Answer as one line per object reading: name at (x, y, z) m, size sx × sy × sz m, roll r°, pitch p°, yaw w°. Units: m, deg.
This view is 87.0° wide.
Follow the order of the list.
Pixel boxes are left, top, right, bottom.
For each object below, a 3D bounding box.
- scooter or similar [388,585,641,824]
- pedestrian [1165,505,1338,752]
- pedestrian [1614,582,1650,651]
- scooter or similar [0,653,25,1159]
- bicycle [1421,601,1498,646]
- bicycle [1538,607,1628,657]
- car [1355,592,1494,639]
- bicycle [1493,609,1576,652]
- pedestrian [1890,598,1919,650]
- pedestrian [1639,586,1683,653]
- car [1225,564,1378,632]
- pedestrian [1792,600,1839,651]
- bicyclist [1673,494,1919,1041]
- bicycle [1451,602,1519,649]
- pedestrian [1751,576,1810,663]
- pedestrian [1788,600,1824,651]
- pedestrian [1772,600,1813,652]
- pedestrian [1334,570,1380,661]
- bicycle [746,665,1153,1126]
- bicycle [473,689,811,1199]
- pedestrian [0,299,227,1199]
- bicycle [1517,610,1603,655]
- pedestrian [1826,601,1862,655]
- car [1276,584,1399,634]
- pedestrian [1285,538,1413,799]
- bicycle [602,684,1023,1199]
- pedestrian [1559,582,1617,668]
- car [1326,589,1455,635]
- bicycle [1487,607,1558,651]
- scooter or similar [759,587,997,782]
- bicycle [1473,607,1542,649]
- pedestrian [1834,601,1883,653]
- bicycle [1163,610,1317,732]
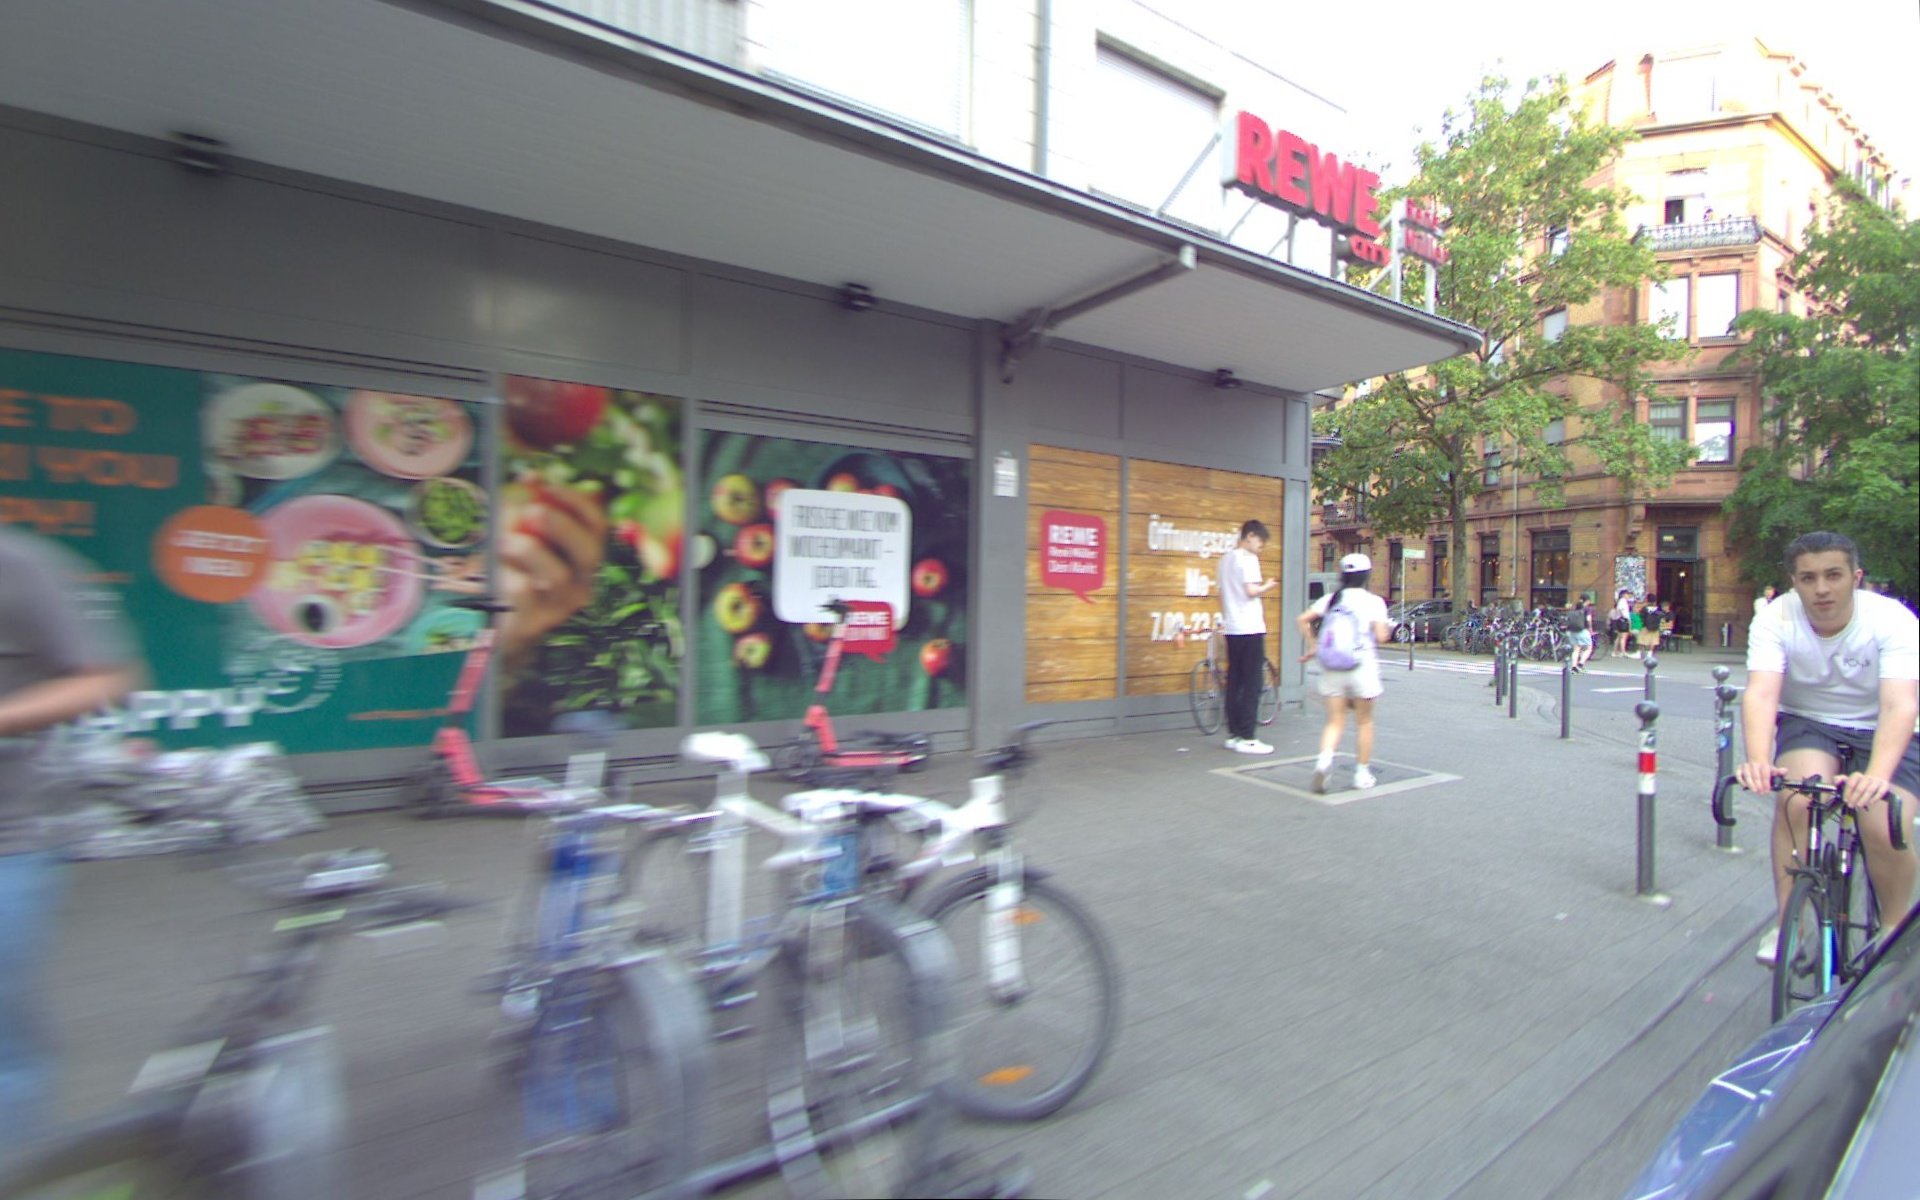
scooter or similar at (-2.377, 0.540, 5.502) m, size 1.140 × 1.219 × 0.538 m, roll 1°, pitch 0°, yaw -9°
pedestrian at (2.465, 0.209, 8.561) m, size 1.167 × 1.935 × 0.763 m, roll 1°, pitch 3°, yaw -36°
pedestrian at (17.455, 0.423, 26.286) m, size 0.630 × 1.767 × 0.673 m, roll -1°, pitch 0°, yaw -45°
scooter or similar at (-2.000, 0.732, 1.737) m, size 0.528 × 1.186 × 1.162 m, roll 3°, pitch 0°, yaw -42°
bicycle at (14.325, 0.656, 29.062) m, size 1.847 × 1.255 × 0.713 m, roll 0°, pitch 0°, yaw -3°
bicycle at (15.302, 0.765, 24.876) m, size 1.845 × 1.169 × 0.714 m, roll -1°, pitch 0°, yaw -9°
car at (15.162, 0.492, 33.086) m, size 3.893 × 1.438 × 1.631 m, roll -1°, pitch 1°, yaw -11°
bicycle at (14.915, 0.778, 26.291) m, size 1.845 × 1.071 × 0.714 m, roll -1°, pitch 0°, yaw -9°
pedestrian at (24.681, 0.619, 26.237) m, size 0.716 × 1.321 × 0.742 m, roll 1°, pitch 0°, yaw 34°
pedestrian at (17.699, 0.474, 25.564) m, size 0.628 × 1.658 × 0.675 m, roll 0°, pitch 0°, yaw 0°
car at (13.501, -0.114, 40.073) m, size 5.374 × 2.487 × 2.125 m, roll -2°, pitch 1°, yaw -14°
pedestrian at (22.271, 0.652, 26.355) m, size 0.627 × 1.288 × 0.676 m, roll 0°, pitch 0°, yaw -9°
bicyclist at (2.911, 0.459, 3.314) m, size 0.935 × 1.527 × 0.651 m, roll -1°, pitch 0°, yaw -34°
bicycle at (14.656, 0.687, 28.248) m, size 1.845 × 1.255 × 0.714 m, roll -1°, pitch 1°, yaw -25°
pedestrian at (18.334, 0.419, 22.626) m, size 0.891 × 1.892 × 0.676 m, roll -1°, pitch 0°, yaw -22°
pedestrian at (21.609, 0.640, 25.858) m, size 0.671 × 1.288 × 0.632 m, roll 0°, pitch 0°, yaw 39°
pedestrian at (21.041, 0.652, 25.601) m, size 0.668 × 1.288 × 0.635 m, roll 0°, pitch 0°, yaw 27°
pedestrian at (8.026, 0.309, 20.441) m, size 0.688 × 1.767 × 0.704 m, roll 3°, pitch 0°, yaw 32°
bicycle at (-0.129, 0.812, 3.367) m, size 0.501 × 1.014 × 1.552 m, roll -1°, pitch 3°, yaw -38°
bicycle at (-0.871, 0.831, 2.485) m, size 0.500 × 1.014 × 1.486 m, roll 0°, pitch 3°, yaw -29°
pedestrian at (-1.850, 0.386, 1.875) m, size 0.723 × 1.777 × 0.664 m, roll 1°, pitch 2°, yaw -31°
bicycle at (15.159, 0.805, 25.575) m, size 1.845 × 1.065 × 0.714 m, roll -1°, pitch 0°, yaw -9°
pedestrian at (21.836, 0.673, 25.015) m, size 0.637 × 1.288 × 0.665 m, roll 0°, pitch 0°, yaw 40°
car at (13.973, 0.309, 37.523) m, size 3.893 × 1.683 × 1.767 m, roll -1°, pitch 1°, yaw -11°
pedestrian at (2.684, 0.425, 7.068) m, size 0.655 × 1.671 × 0.879 m, roll 3°, pitch 2°, yaw 16°
bicycle at (-0.494, 0.828, 2.799) m, size 0.501 × 0.995 × 1.421 m, roll -1°, pitch 3°, yaw -38°
pedestrian at (12.299, 0.490, 19.823) m, size 0.850 × 1.627 × 0.540 m, roll 2°, pitch 0°, yaw -24°
car at (15.102, 0.388, 35.571) m, size 3.893 × 1.521 × 1.631 m, roll -1°, pitch 1°, yaw -11°
bicycle at (15.134, 0.765, 27.215) m, size 1.845 × 1.091 × 0.714 m, roll -1°, pitch 1°, yaw -25°
scooter or similar at (-0.553, 0.533, 7.052) m, size 1.591 × 1.233 × 0.480 m, roll -1°, pitch 2°, yaw -29°
bicycle at (15.054, 0.761, 27.800) m, size 1.845 × 1.091 × 0.714 m, roll -1°, pitch 1°, yaw -25°
pedestrian at (22.905, 0.675, 25.810) m, size 0.662 × 1.288 × 0.640 m, roll 0°, pitch 0°, yaw 3°
bicycle at (2.676, 0.628, 9.577) m, size 1.750 × 1.037 × 0.457 m, roll 0°, pitch 0°, yaw -38°
